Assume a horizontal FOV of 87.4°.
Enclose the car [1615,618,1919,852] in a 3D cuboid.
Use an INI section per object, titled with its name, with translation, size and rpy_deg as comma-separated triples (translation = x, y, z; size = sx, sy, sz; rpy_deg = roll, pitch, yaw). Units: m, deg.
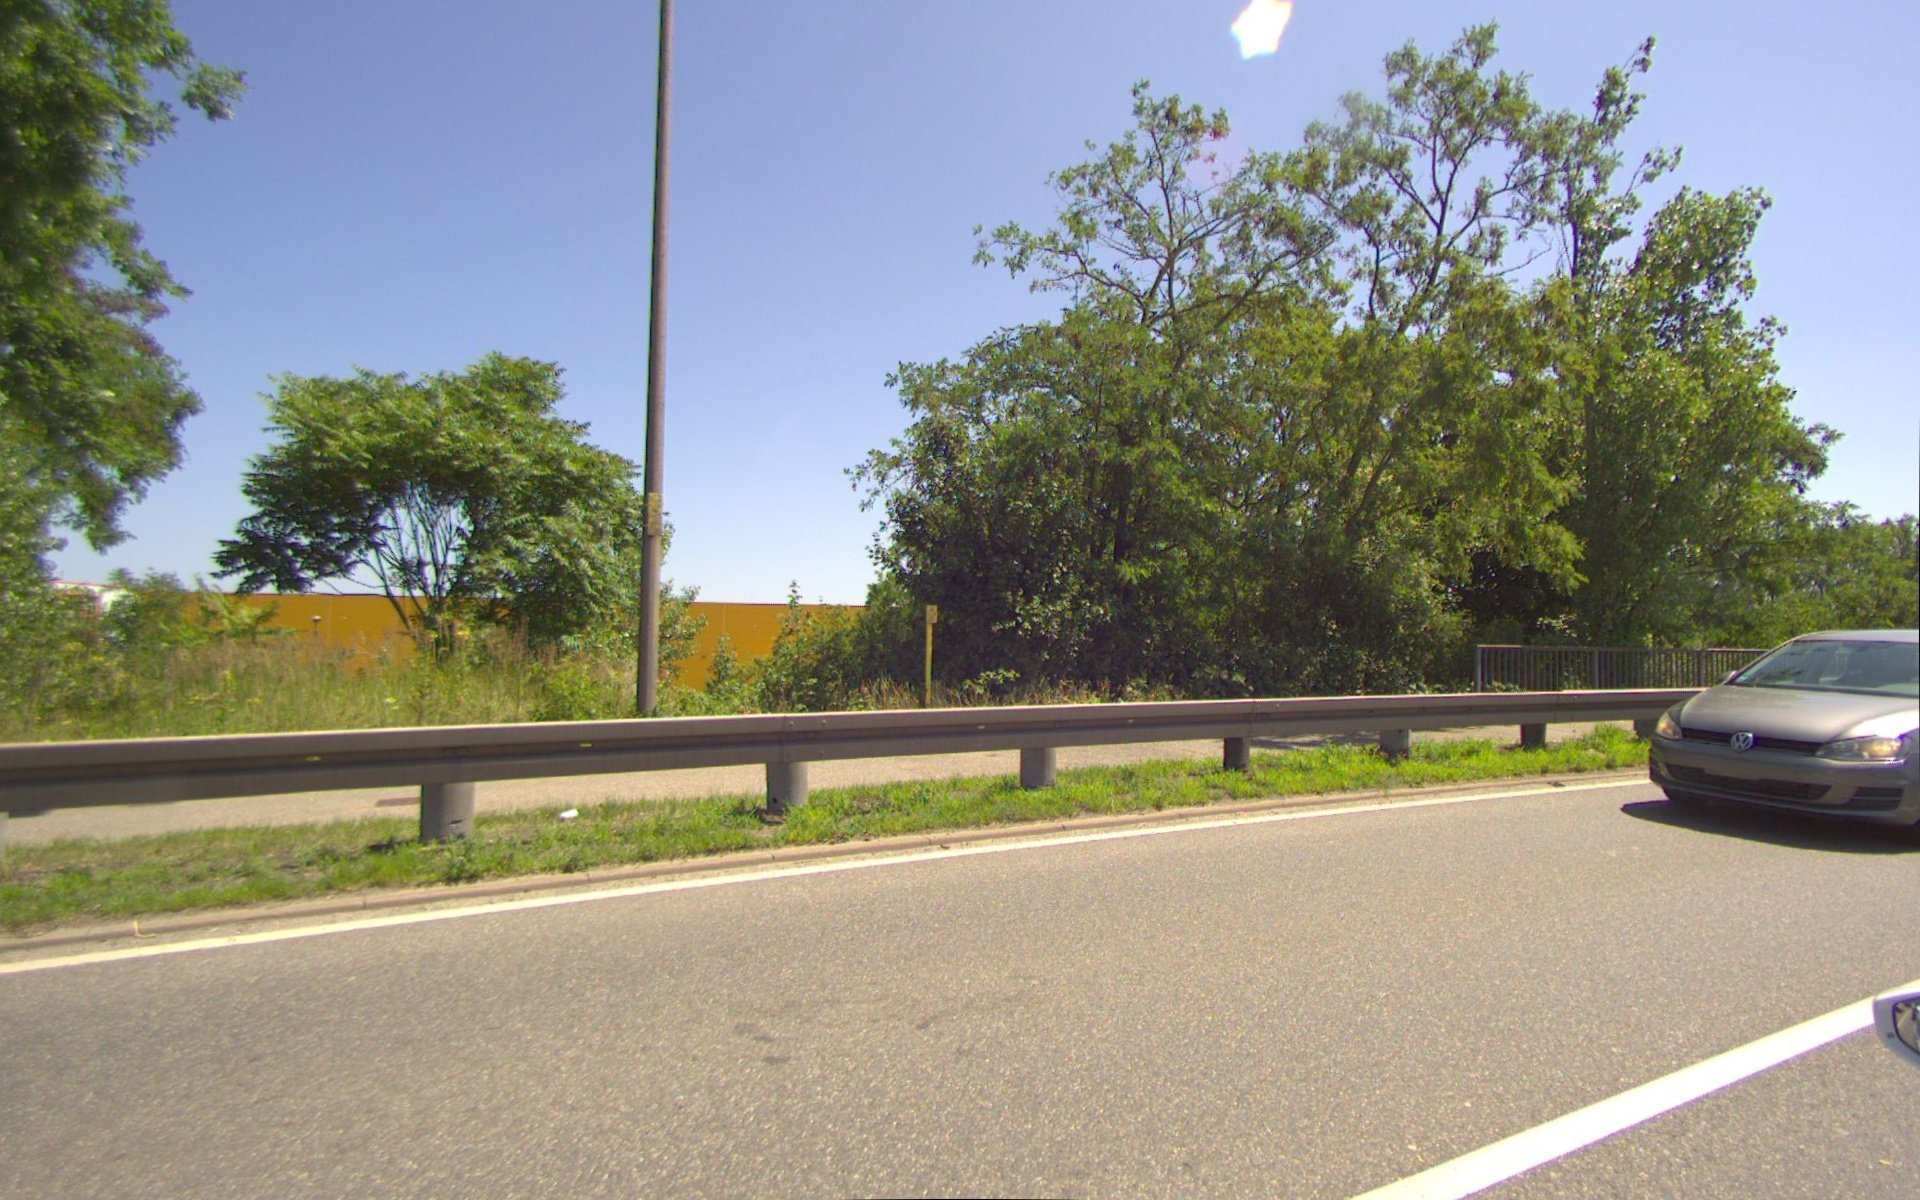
[car]
translation = 7.317, 0.906, 7.957
size = 4.052, 1.446, 1.711
rpy_deg = 1, -1, -25
